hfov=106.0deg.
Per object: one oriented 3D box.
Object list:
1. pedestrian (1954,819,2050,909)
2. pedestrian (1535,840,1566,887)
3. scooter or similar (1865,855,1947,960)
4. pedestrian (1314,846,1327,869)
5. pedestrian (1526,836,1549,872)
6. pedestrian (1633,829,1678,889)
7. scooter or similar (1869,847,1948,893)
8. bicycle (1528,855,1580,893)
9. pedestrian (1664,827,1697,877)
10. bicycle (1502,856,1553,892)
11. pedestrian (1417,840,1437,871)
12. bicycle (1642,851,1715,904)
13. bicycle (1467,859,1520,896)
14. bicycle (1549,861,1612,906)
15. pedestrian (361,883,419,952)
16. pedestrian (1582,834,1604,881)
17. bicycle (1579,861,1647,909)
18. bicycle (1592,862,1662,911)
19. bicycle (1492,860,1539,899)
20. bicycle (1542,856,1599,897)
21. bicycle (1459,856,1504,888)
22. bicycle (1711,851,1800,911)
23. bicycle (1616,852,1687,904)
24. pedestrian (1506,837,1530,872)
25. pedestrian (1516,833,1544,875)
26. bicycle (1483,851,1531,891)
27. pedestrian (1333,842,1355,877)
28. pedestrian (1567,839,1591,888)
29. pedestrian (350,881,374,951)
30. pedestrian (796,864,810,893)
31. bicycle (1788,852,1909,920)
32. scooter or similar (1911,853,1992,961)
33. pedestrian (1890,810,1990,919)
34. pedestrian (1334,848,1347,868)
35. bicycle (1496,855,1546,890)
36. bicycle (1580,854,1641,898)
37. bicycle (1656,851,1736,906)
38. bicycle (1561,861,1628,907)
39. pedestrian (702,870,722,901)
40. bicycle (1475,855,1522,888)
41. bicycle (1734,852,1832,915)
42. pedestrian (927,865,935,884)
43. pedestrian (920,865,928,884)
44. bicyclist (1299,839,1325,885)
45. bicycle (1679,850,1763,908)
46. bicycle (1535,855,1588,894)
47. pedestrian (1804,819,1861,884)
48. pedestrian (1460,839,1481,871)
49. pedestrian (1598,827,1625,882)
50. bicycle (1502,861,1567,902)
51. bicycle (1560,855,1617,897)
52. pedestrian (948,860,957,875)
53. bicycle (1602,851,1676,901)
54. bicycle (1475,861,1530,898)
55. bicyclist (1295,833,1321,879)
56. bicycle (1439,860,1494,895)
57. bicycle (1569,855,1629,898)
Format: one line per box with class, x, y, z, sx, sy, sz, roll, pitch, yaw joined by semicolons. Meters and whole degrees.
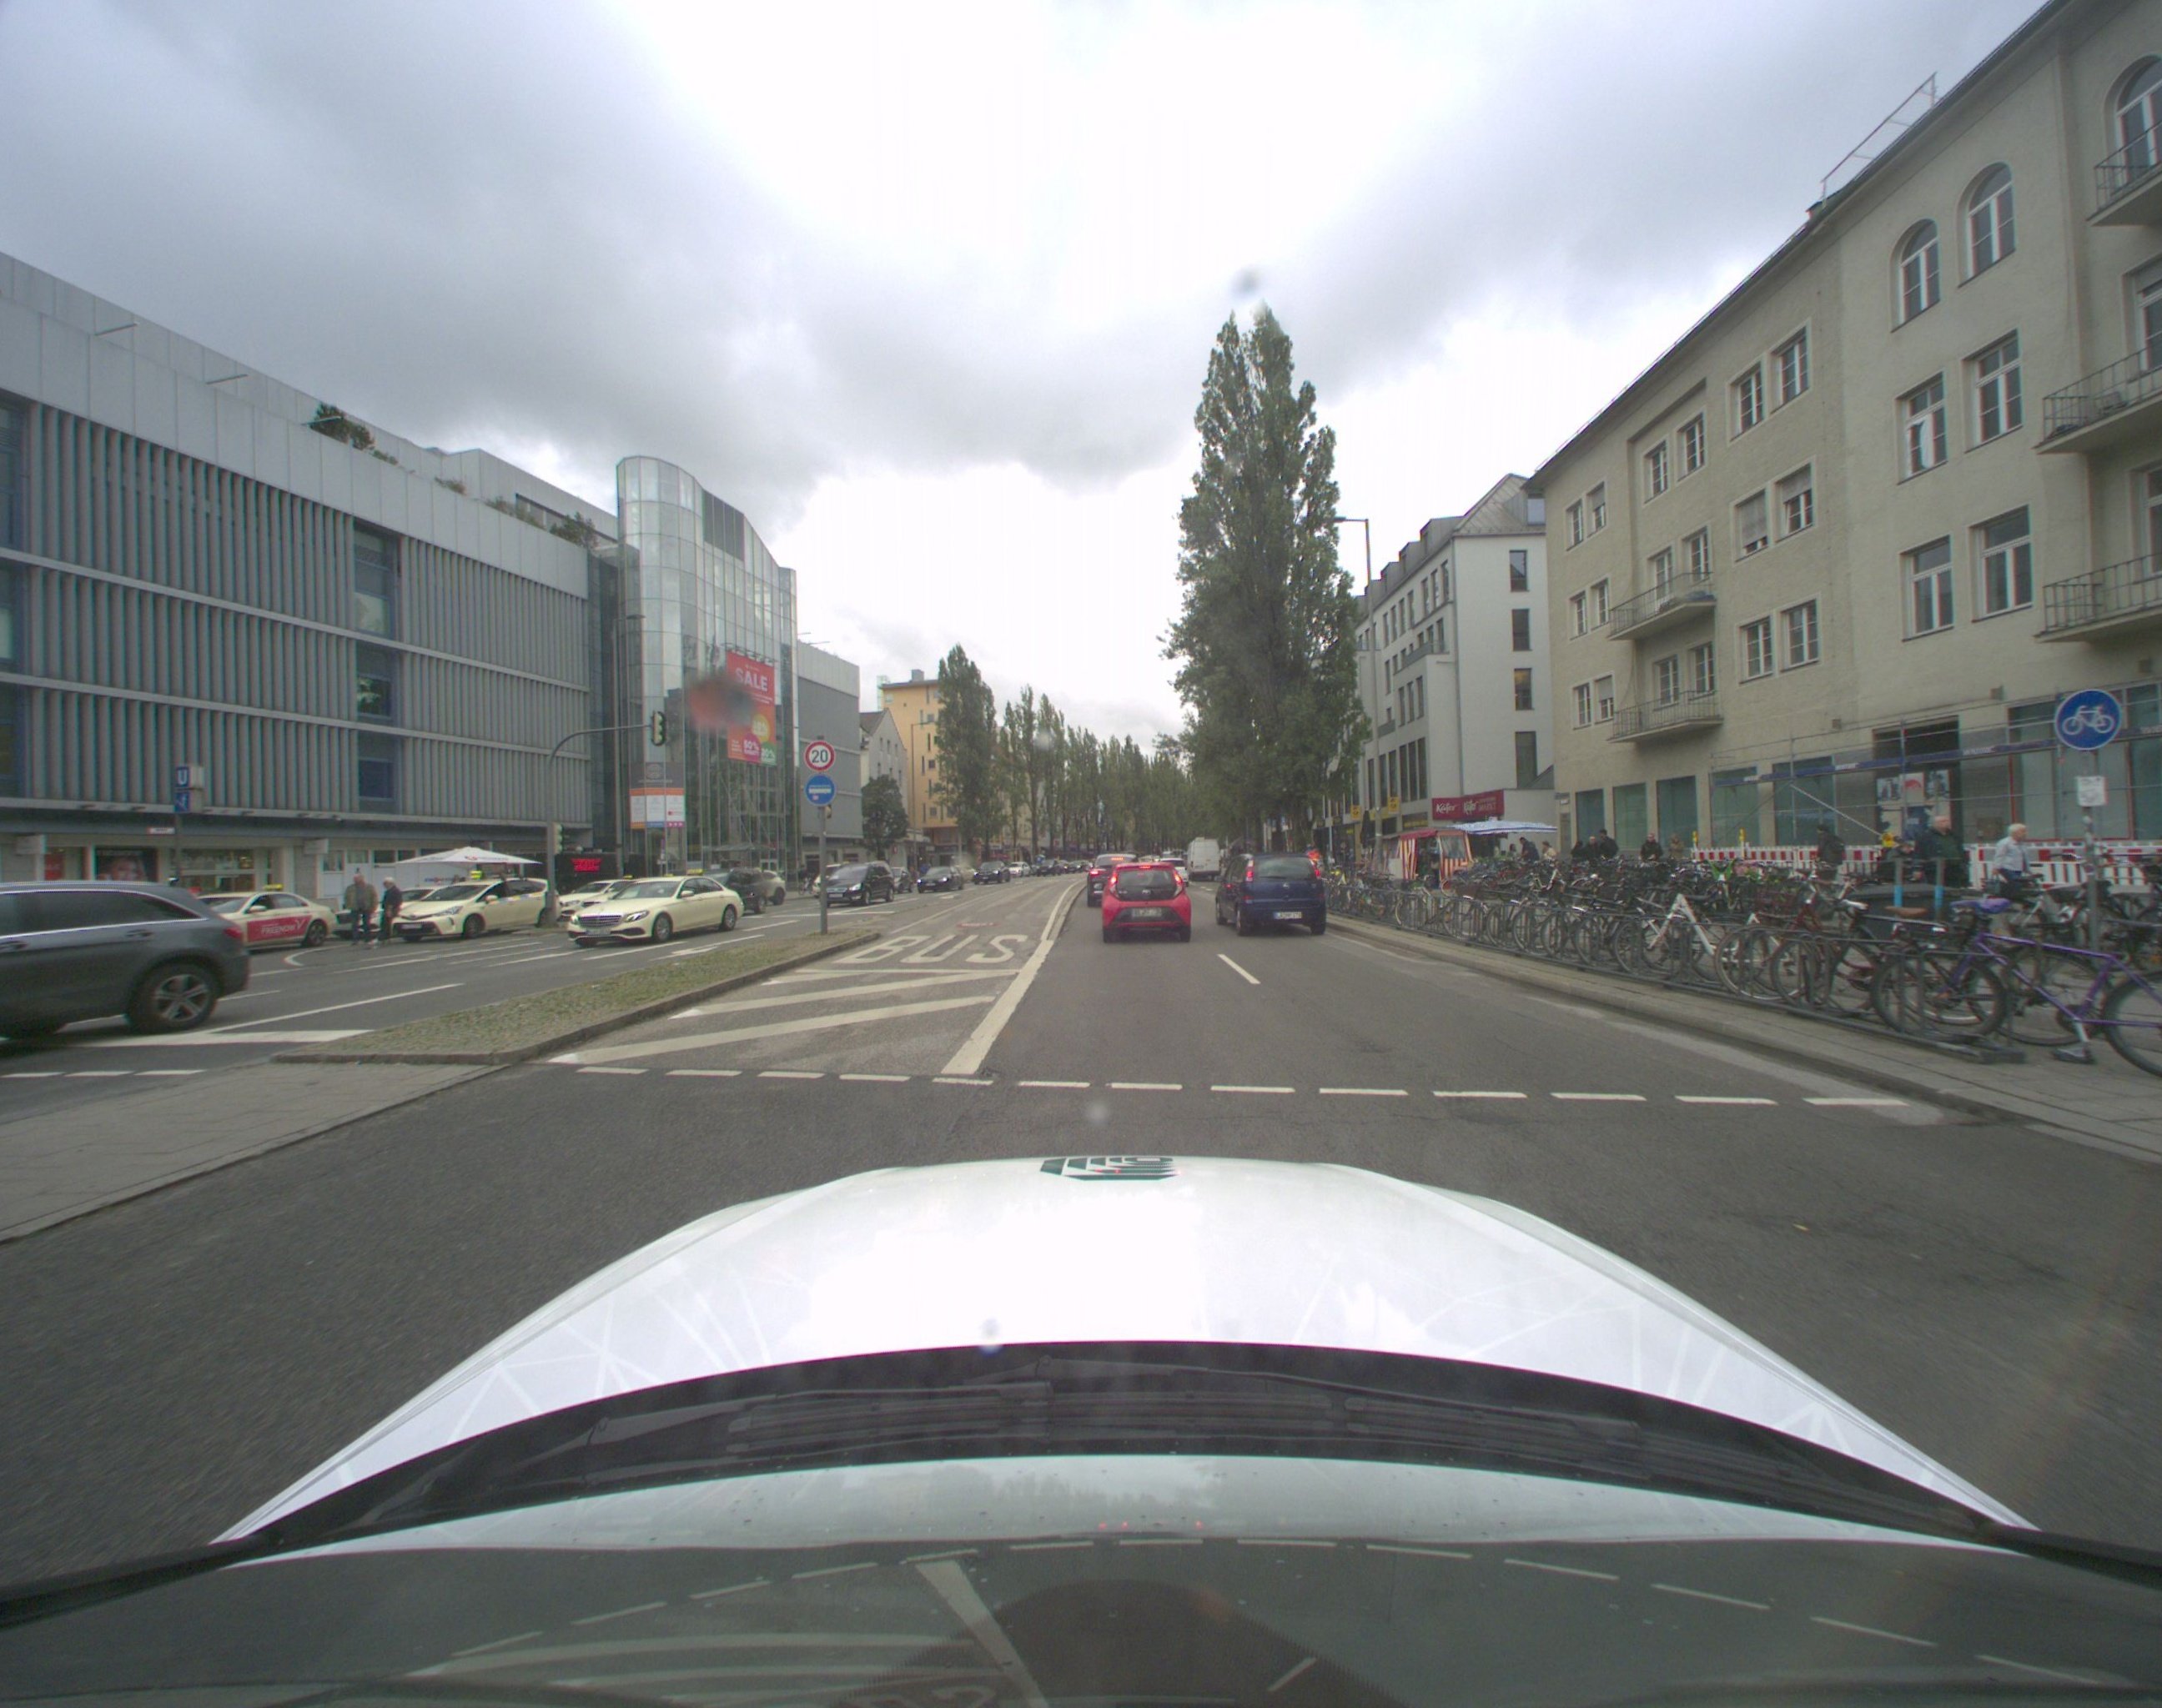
pedestrian;16.300;0.170;14.432;0.775;1.517;0.758;-3;0;0
pedestrian;15.792;0.322;27.383;0.801;1.522;0.805;-3;0;35
scooter or similar;10.088;0.620;9.991;0.360;1.176;1.355;-3;0;32
pedestrian;16.798;0.268;57.148;0.710;1.558;0.676;-2;0;2
pedestrian;18.301;0.012;32.648;0.572;1.402;0.580;-2;0;2
pedestrian;17.048;0.143;24.181;0.739;1.727;0.759;-3;0;2
scooter or similar;17.875;0.329;17.616;0.533;0.943;1.125;-3;0;0
bicycle;12.957;0.535;22.310;1.242;0.981;0.368;-2;0;-7
pedestrian;20.100;-0.066;27.318;0.638;1.644;0.563;-2;0;2
bicycle;12.877;0.581;23.491;1.240;0.981;0.369;-2;0;0
pedestrian;18.509;0.081;43.587;0.730;1.602;0.742;-2;0;2
bicycle;12.828;0.496;17.500;1.326;1.075;0.368;-2;0;-5
bicycle;11.580;0.657;22.856;1.255;0.963;0.370;-2;0;4
bicycle;11.363;0.671;18.551;1.177;0.963;0.369;-2;0;0
pedestrian;-17.719;1.621;20.900;0.766;1.691;0.753;-2;0;6
pedestrian;16.428;0.116;26.109;0.501;1.484;0.468;-3;0;37
bicycle;11.334;0.665;17.358;1.127;0.963;0.370;-2;0;7
bicycle;11.335;0.664;16.918;1.127;0.963;0.370;-2;0;7
bicycle;11.509;0.677;21.569;1.229;0.963;0.367;-2;0;-20
bicycle;12.723;0.580;21.196;1.240;0.981;0.369;-2;0;-2
bicycle;12.731;0.576;25.900;1.240;0.963;0.369;-2;0;0
bicycle;12.876;0.514;15.551;1.424;1.075;0.368;-2;0;-5
bicycle;12.650;0.530;18.055;1.326;1.075;0.368;-2;0;-5
pedestrian;17.531;0.020;32.692;0.596;1.402;0.580;-2;0;2
pedestrian;15.788;-0.009;28.657;0.612;1.425;0.660;-2;0;7
bicycle;12.911;0.514;24.681;1.240;1.140;0.369;-2;0;0
pedestrian;13.308;0.284;41.215;0.787;1.727;0.764;-2;0;2
pedestrian;15.647;0.289;25.574;0.573;1.505;0.620;-2;-1;33
pedestrian;-18.621;1.598;21.092;0.441;1.759;0.358;-2;0;37
pedestrian;-17.501;1.542;51.284;0.553;1.817;0.630;-2;-1;13
bicycle;13.055;0.536;13.867;1.543;1.075;0.452;-2;0;3
scooter or similar;10.259;0.589;9.628;0.297;1.176;1.285;-3;0;32
pedestrian;14.303;0.165;13.582;0.806;1.727;0.762;-3;0;16
pedestrian;17.497;0.267;55.012;0.636;1.306;0.676;-2;0;2
bicycle;12.987;0.539;24.065;1.240;0.981;0.369;-2;0;0
bicycle;12.587;0.526;19.366;1.241;0.981;0.368;-2;0;-5
bicycle;12.783;0.495;16.937;1.424;1.075;0.368;-2;0;-5
bicycle;11.348;0.651;18.008;1.175;0.963;0.370;-2;0;5
pedestrian;-20.825;1.758;45.985;0.646;1.691;0.714;-2;0;14
bicycle;13.018;0.551;25.381;1.240;0.963;0.369;-2;0;0
bicycle;12.949;0.536;15.029;1.547;1.075;0.368;-2;0;-5
pedestrian;-16.109;2.234;87.442;0.685;1.997;0.766;-2;0;2
pedestrian;-16.870;2.234;87.408;0.685;1.997;0.765;-2;0;1
bicyclist;8.643;0.298;30.556;0.611;1.657;1.252;-2;0;3
bicycle;12.839;0.493;16.342;1.424;1.075;0.368;-2;0;-5
bicycle;12.867;0.534;21.811;1.242;0.981;0.368;-2;0;-7
pedestrian;18.812;-0.061;20.396;0.646;1.568;0.788;-2;0;3
pedestrian;17.491;0.028;36.559;0.596;1.402;0.580;-2;0;2
pedestrian;16.329;0.020;25.046;0.594;1.669;0.690;-3;0;37
bicycle;11.332;0.688;20.353;1.399;0.963;0.369;-2;0;-4
bicycle;12.802;0.549;20.543;1.242;0.981;0.368;-2;0;-7
pedestrian;-15.269;1.614;96.766;0.682;1.810;0.768;-2;-1;13
bicycle;12.833;0.498;18.737;1.498;1.075;0.368;-2;0;-5
bicycle;11.571;0.690;22.373;1.253;0.963;0.370;-2;0;11
bicyclist;9.639;0.079;34.681;0.759;1.870;1.133;-2;0;2
bicycle;11.513;0.705;24.348;1.423;0.963;0.370;-2;0;7
bicycle;12.696;0.547;19.977;1.241;0.981;0.368;-2;0;-5
